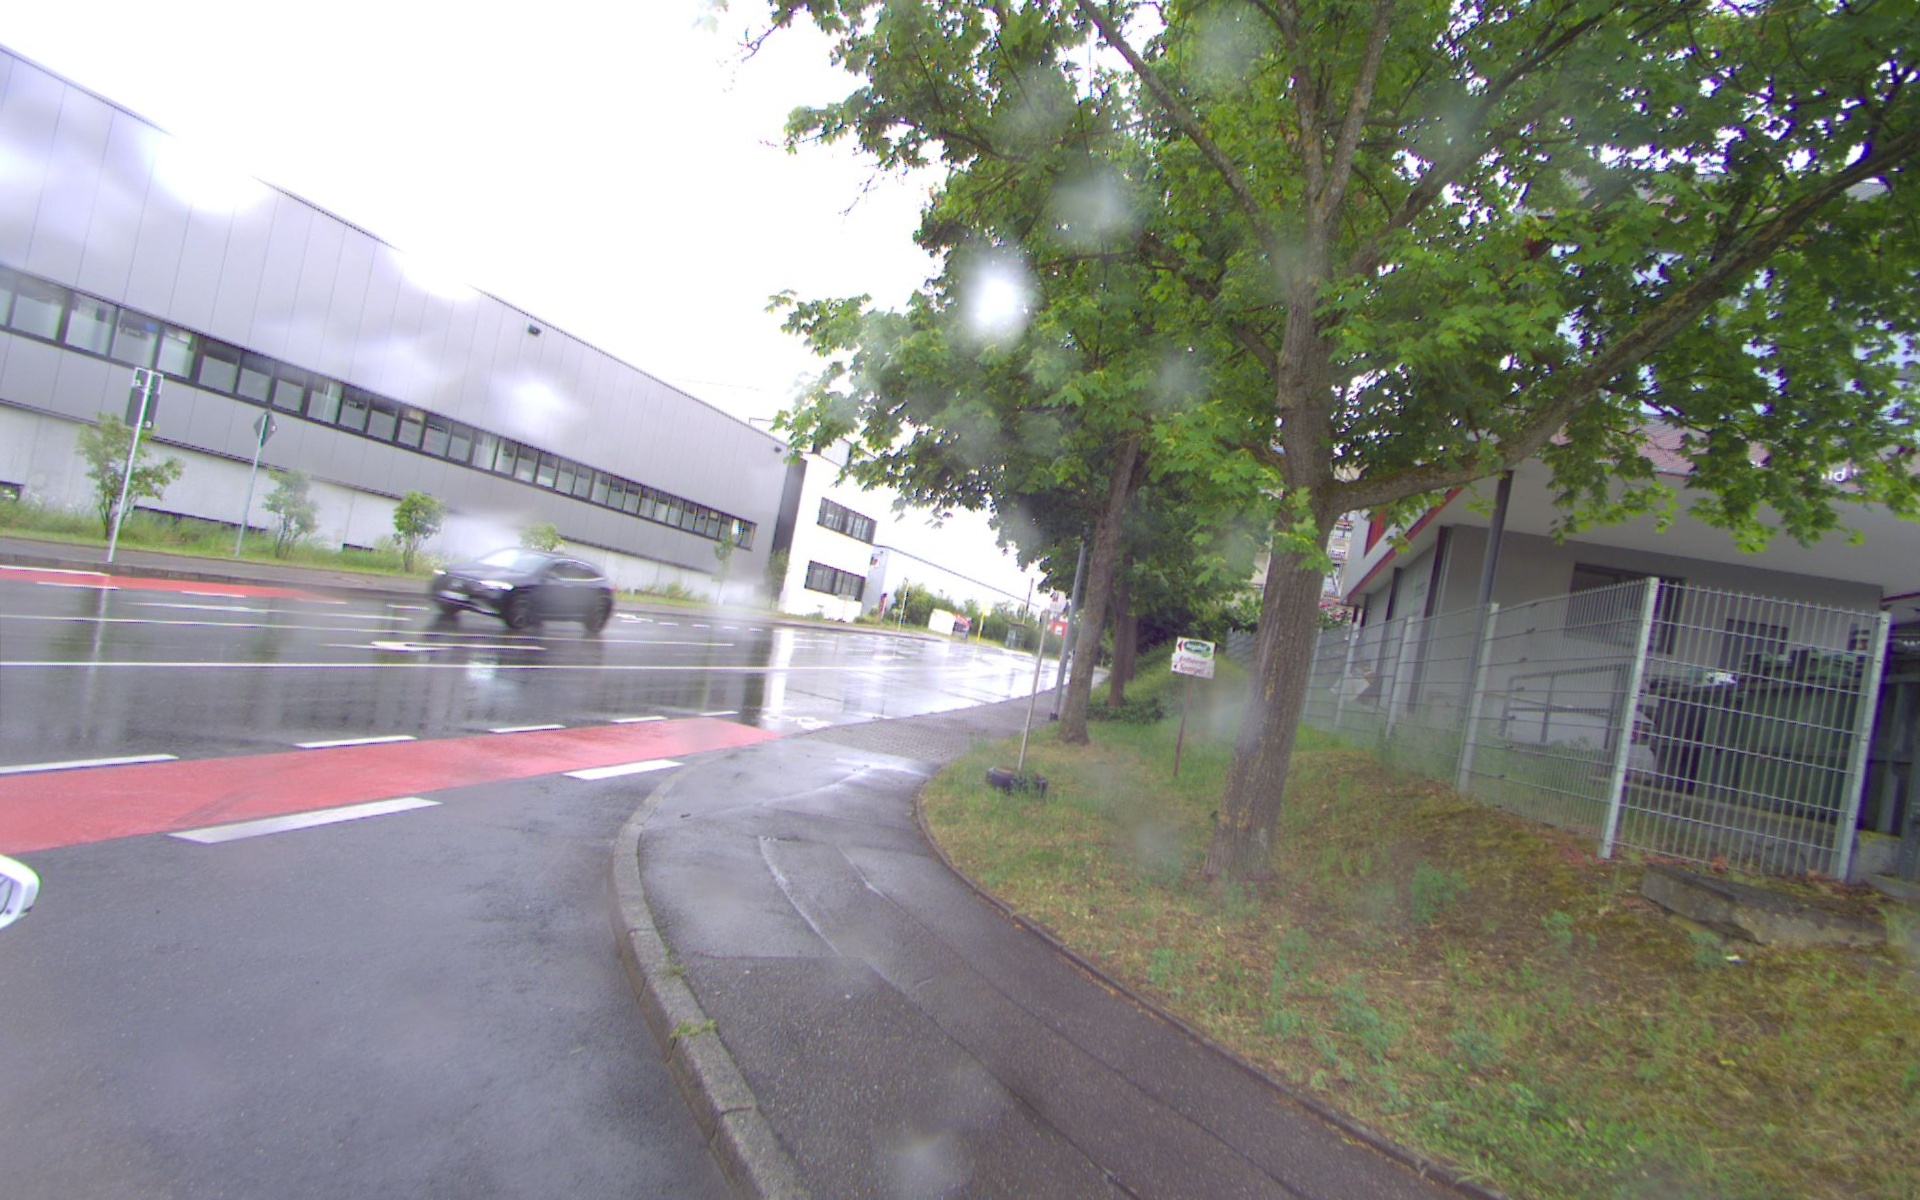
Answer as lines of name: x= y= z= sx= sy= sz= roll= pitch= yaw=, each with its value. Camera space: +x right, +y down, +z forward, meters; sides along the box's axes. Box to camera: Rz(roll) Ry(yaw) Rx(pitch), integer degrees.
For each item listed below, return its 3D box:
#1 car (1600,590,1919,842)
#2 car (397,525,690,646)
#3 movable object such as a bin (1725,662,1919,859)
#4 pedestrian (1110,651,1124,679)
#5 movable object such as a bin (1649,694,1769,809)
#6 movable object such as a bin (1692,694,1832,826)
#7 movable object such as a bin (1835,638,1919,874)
car: x=9.574 y=1.319 z=9.958 sx=4.844 sy=2.037 sz=2.066 roll=8 pitch=-1 yaw=13
car: x=-8.952 y=-0.149 z=22.725 sx=2.317 sy=1.836 sz=6.887 roll=9 pitch=-2 yaw=14
movable object such as a bin: x=5.601 y=0.982 z=6.288 sx=0.867 sy=1.054 sz=1.054 roll=8 pitch=-1 yaw=16
pedestrian: x=11.594 y=4.821 z=74.254 sx=0.764 sy=1.928 sz=0.730 roll=8 pitch=-2 yaw=12
movable object such as a bin: x=6.048 y=1.209 z=8.147 sx=0.529 sy=0.811 sz=0.523 roll=8 pitch=-1 yaw=14
movable object such as a bin: x=5.840 y=1.149 z=7.357 sx=0.529 sy=0.827 sz=0.567 roll=8 pitch=-1 yaw=14
movable object such as a bin: x=5.312 y=0.841 z=4.941 sx=1.007 sy=1.175 sz=1.144 roll=8 pitch=-1 yaw=14
